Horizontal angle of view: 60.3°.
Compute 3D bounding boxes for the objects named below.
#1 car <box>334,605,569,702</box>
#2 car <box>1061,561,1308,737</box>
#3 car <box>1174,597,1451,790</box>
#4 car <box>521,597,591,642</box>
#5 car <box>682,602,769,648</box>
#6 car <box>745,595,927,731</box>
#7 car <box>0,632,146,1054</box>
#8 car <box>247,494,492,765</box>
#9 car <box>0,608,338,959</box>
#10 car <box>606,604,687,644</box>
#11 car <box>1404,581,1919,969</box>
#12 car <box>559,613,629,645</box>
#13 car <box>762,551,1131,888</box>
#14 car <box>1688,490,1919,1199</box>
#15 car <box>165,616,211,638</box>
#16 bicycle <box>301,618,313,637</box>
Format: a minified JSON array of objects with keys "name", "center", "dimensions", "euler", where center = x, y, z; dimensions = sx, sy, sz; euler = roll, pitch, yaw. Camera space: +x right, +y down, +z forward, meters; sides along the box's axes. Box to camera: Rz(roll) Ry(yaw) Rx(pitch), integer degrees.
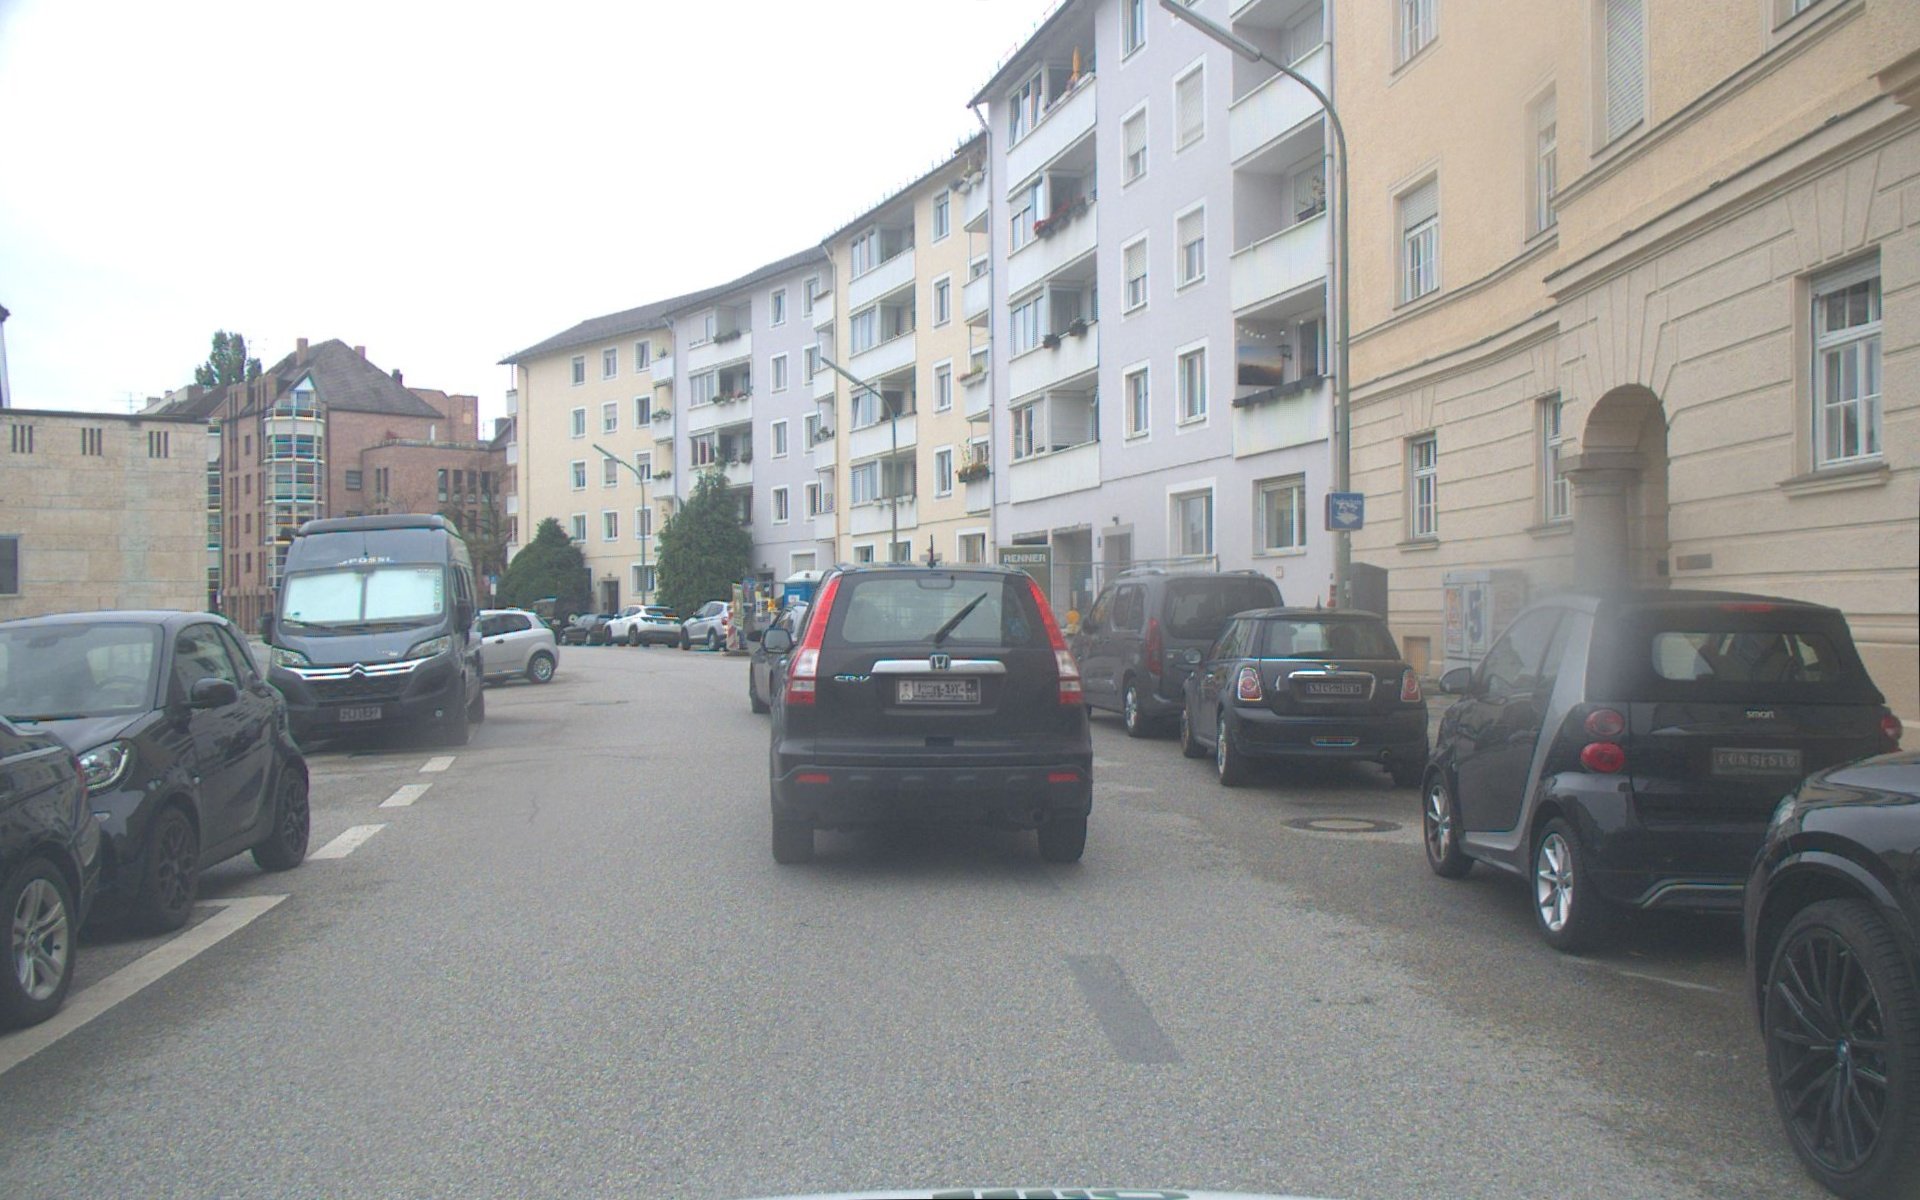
[{"name":"car","center":[-9.766,1.003,31.992],"dimensions":[1.652,1.507,4.068],"euler":[-5,-1,38]},{"name":"car","center":[2.516,0.530,19.578],"dimensions":[1.745,1.838,4.267],"euler":[1,0,-9]},{"name":"car","center":[2.989,0.731,14.770],"dimensions":[1.673,1.472,3.830],"euler":[1,0,0]},{"name":"car","center":[-17.765,0.829,72.656],"dimensions":[1.709,1.911,3.952],"euler":[0,0,-34]},{"name":"car","center":[-7.979,0.822,56.047],"dimensions":[1.705,1.509,3.963],"euler":[0,0,-28]},{"name":"car","center":[-1.641,0.710,20.610],"dimensions":[1.650,1.507,4.072],"euler":[0,0,-13]},{"name":"car","center":[-4.109,0.884,4.688],"dimensions":[1.765,1.430,4.449],"euler":[-2,0,-6]},{"name":"car","center":[-6.834,0.273,19.793],"dimensions":[2.128,2.688,5.994],"euler":[-2,0,-14]},{"name":"car","center":[-4.588,0.843,8.820],"dimensions":[1.638,1.528,2.973],"euler":[-2,0,-6]},{"name":"car","center":[-12.315,0.921,64.769],"dimensions":[1.709,1.509,3.952],"euler":[0,0,-34]},{"name":"car","center":[3.377,0.717,8.262],"dimensions":[1.503,1.550,3.111],"euler":[1,0,1]},{"name":"car","center":[-15.269,1.198,68.887],"dimensions":[1.683,1.258,3.559],"euler":[0,0,-34]},{"name":"car","center":[-0.212,0.601,10.321],"dimensions":[1.854,1.676,3.987],"euler":[0,0,-5]},{"name":"car","center":[3.169,0.626,2.653],"dimensions":[1.831,1.747,4.865],"euler":[1,0,0]},{"name":"car","center":[-54.568,1.891,116.936],"dimensions":[1.799,1.498,4.052],"euler":[0,0,-43]},{"name":"bicycle","center":[-46.706,1.984,118.247],"dimensions":[0.545,1.311,1.742],"euler":[0,0,-30]}]
